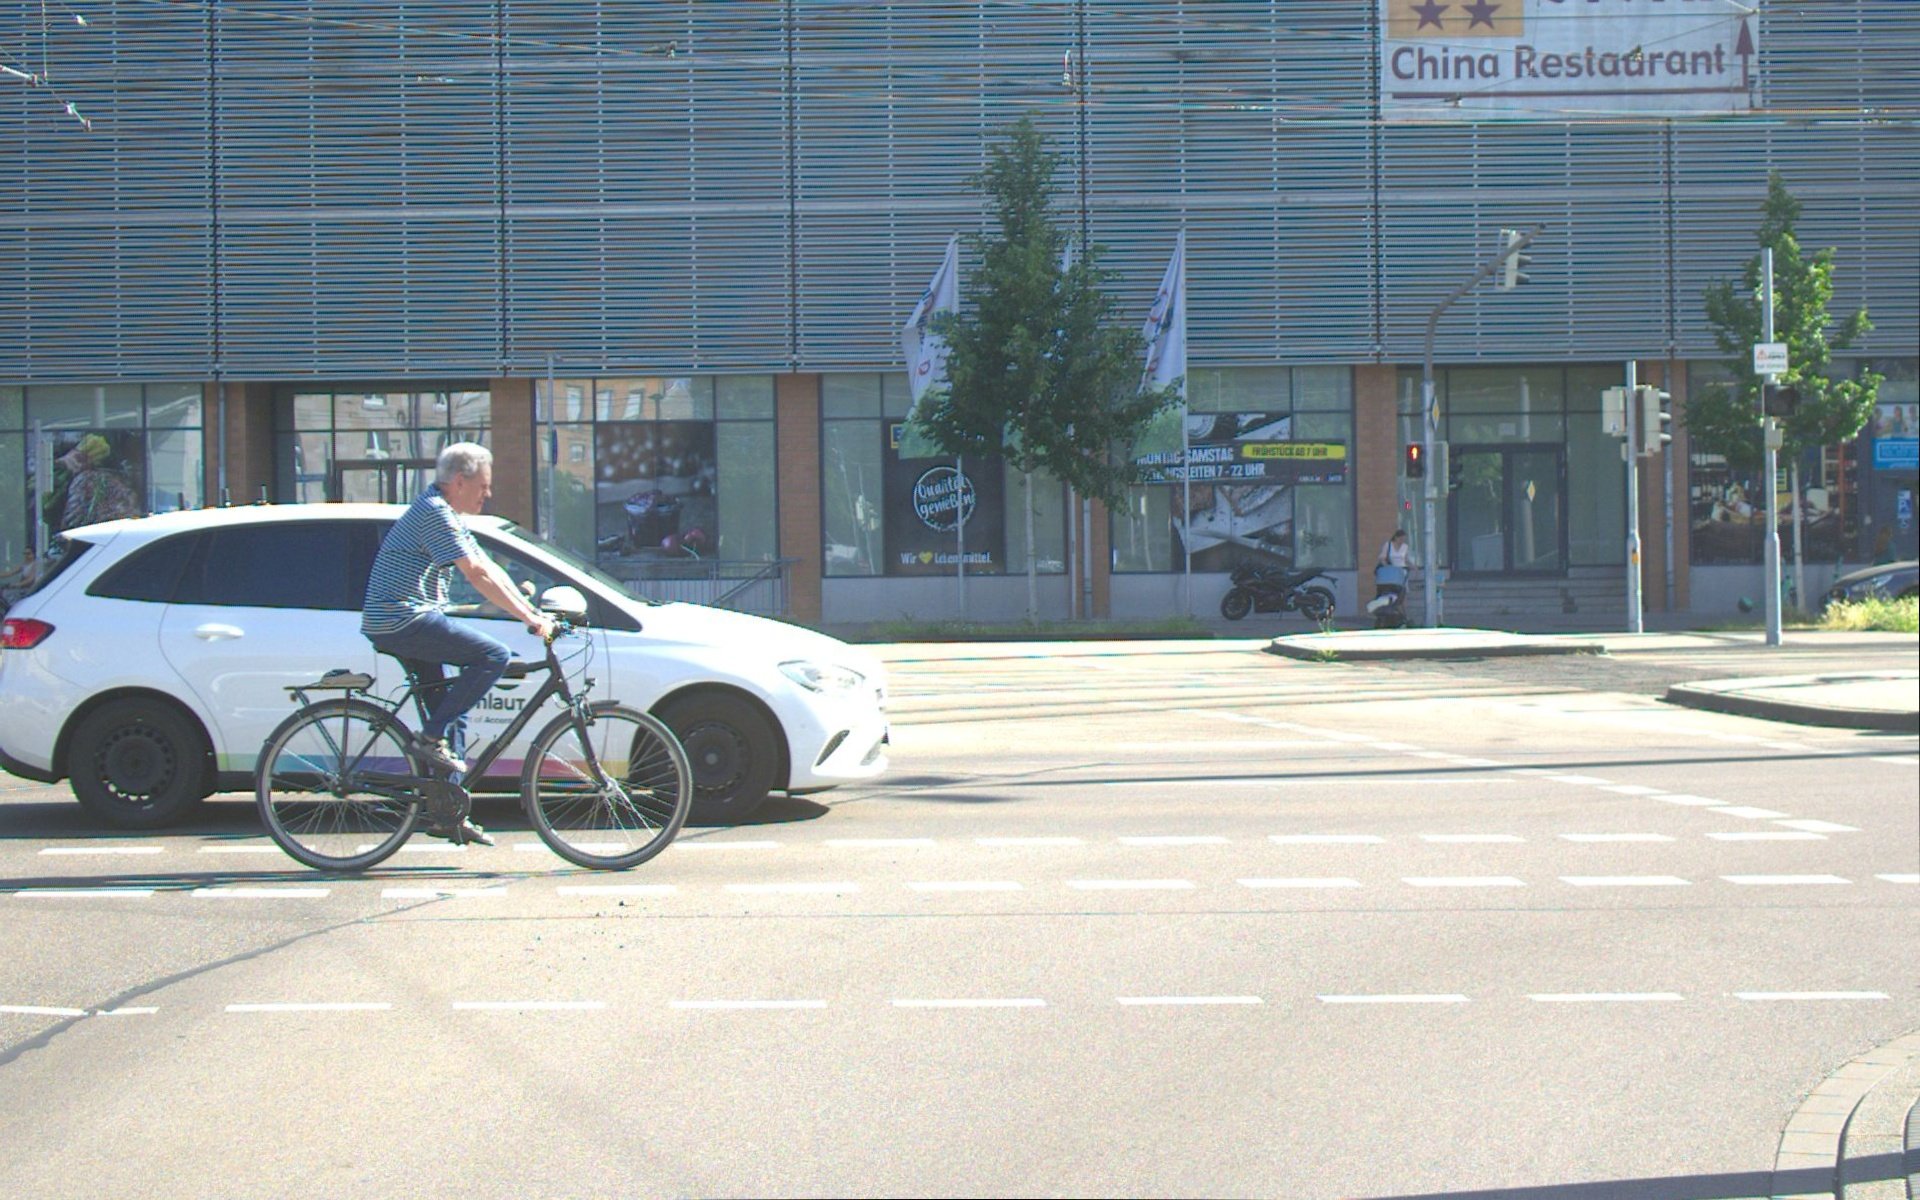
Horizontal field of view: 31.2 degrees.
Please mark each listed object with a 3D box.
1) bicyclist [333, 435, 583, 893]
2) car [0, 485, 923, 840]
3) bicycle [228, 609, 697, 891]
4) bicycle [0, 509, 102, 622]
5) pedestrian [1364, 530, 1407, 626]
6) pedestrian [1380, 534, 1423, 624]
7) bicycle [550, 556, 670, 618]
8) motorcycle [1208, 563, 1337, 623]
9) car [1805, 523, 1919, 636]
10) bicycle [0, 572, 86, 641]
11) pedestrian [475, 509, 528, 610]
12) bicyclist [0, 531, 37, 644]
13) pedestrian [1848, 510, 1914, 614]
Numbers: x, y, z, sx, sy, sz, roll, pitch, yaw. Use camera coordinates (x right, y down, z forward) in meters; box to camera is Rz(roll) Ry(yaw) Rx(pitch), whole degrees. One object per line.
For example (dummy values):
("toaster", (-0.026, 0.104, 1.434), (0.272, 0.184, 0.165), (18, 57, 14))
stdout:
("bicyclist", (-2.089, 0.252, 14.402), (0.902, 1.853, 0.854), (-1, 1, 0))
("car", (-2.497, 0.256, 17.142), (4.488, 1.629, 1.840), (-1, 2, -5))
("bicycle", (-2.054, 0.611, 14.396), (1.828, 1.112, 0.853), (-1, 1, 0))
("bicycle", (-17.662, -0.637, 62.138), (3.987, 2.007, 1.330), (0, 1, 0))
("pedestrian", (6.842, -0.351, 55.325), (0.589, 1.529, 0.658), (0, 1, -1))
("pedestrian", (7.215, -0.341, 56.200), (0.589, 1.457, 0.658), (0, 1, -1))
("bicycle", (-6.220, -0.237, 61.169), (2.026, 1.055, 1.145), (-1, 1, -1))
("motorcycle", (5.572, -0.132, 61.421), (2.202, 1.039, 1.061), (0, 1, 0))
("car", (13.817, -0.303, 46.288), (4.487, 1.489, 1.495), (-1, 1, 0))
("bicycle", (-15.326, 0.104, 55.255), (2.238, 1.067, 1.046), (-1, 1, -41))
("pedestrian", (-8.057, -0.711, 60.449), (0.848, 1.757, 0.620), (-1, 1, -1))
("bicyclist", (-15.421, -0.198, 55.253), (0.843, 1.797, 0.816), (-1, 1, -42))
("pedestrian", (15.585, -0.640, 58.194), (0.853, 1.732, 0.754), (-1, 1, -7))
